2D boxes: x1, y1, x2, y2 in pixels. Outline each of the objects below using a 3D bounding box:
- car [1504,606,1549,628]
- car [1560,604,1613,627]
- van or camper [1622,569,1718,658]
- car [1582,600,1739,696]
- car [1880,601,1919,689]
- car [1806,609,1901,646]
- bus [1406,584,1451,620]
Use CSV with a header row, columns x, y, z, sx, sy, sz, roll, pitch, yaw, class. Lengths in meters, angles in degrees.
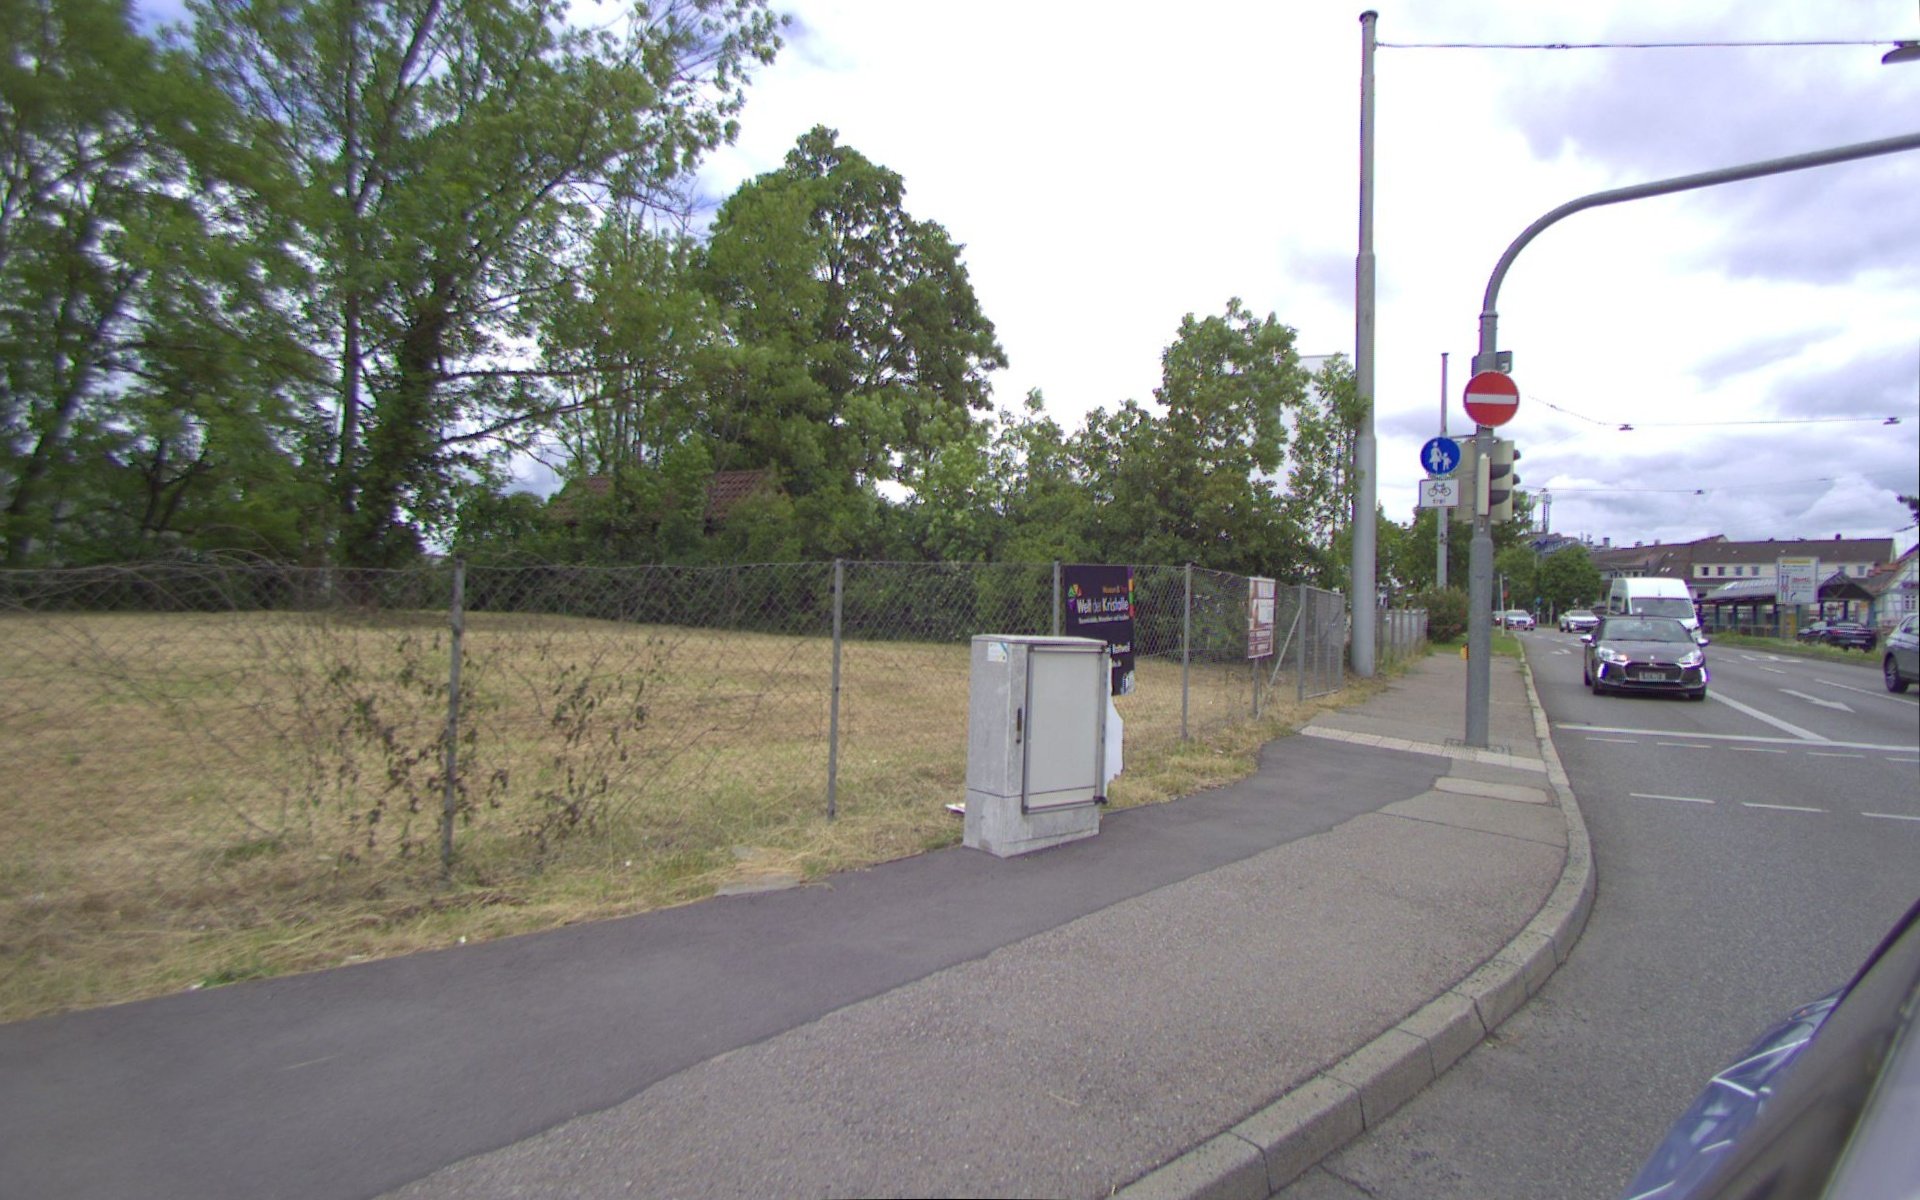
x,y,z,sx,sy,sz,roll,pitch,yaw,class
40.314,1.195,72.115,1.973,1.393,3.978,1,1,17,car
41.175,0.978,66.579,1.973,1.393,3.977,1,1,18,car
24.548,0.490,35.229,2.264,2.740,6.915,2,-1,32,van or camper
13.062,0.854,19.113,1.847,1.544,3.962,2,-1,27,car
19.001,0.880,18.503,1.980,1.671,4.354,2,0,25,car
40.552,1.208,46.072,1.800,1.415,4.969,3,1,25,car
47.053,0.266,101.936,2.689,3.144,8.814,9,2,18,bus
